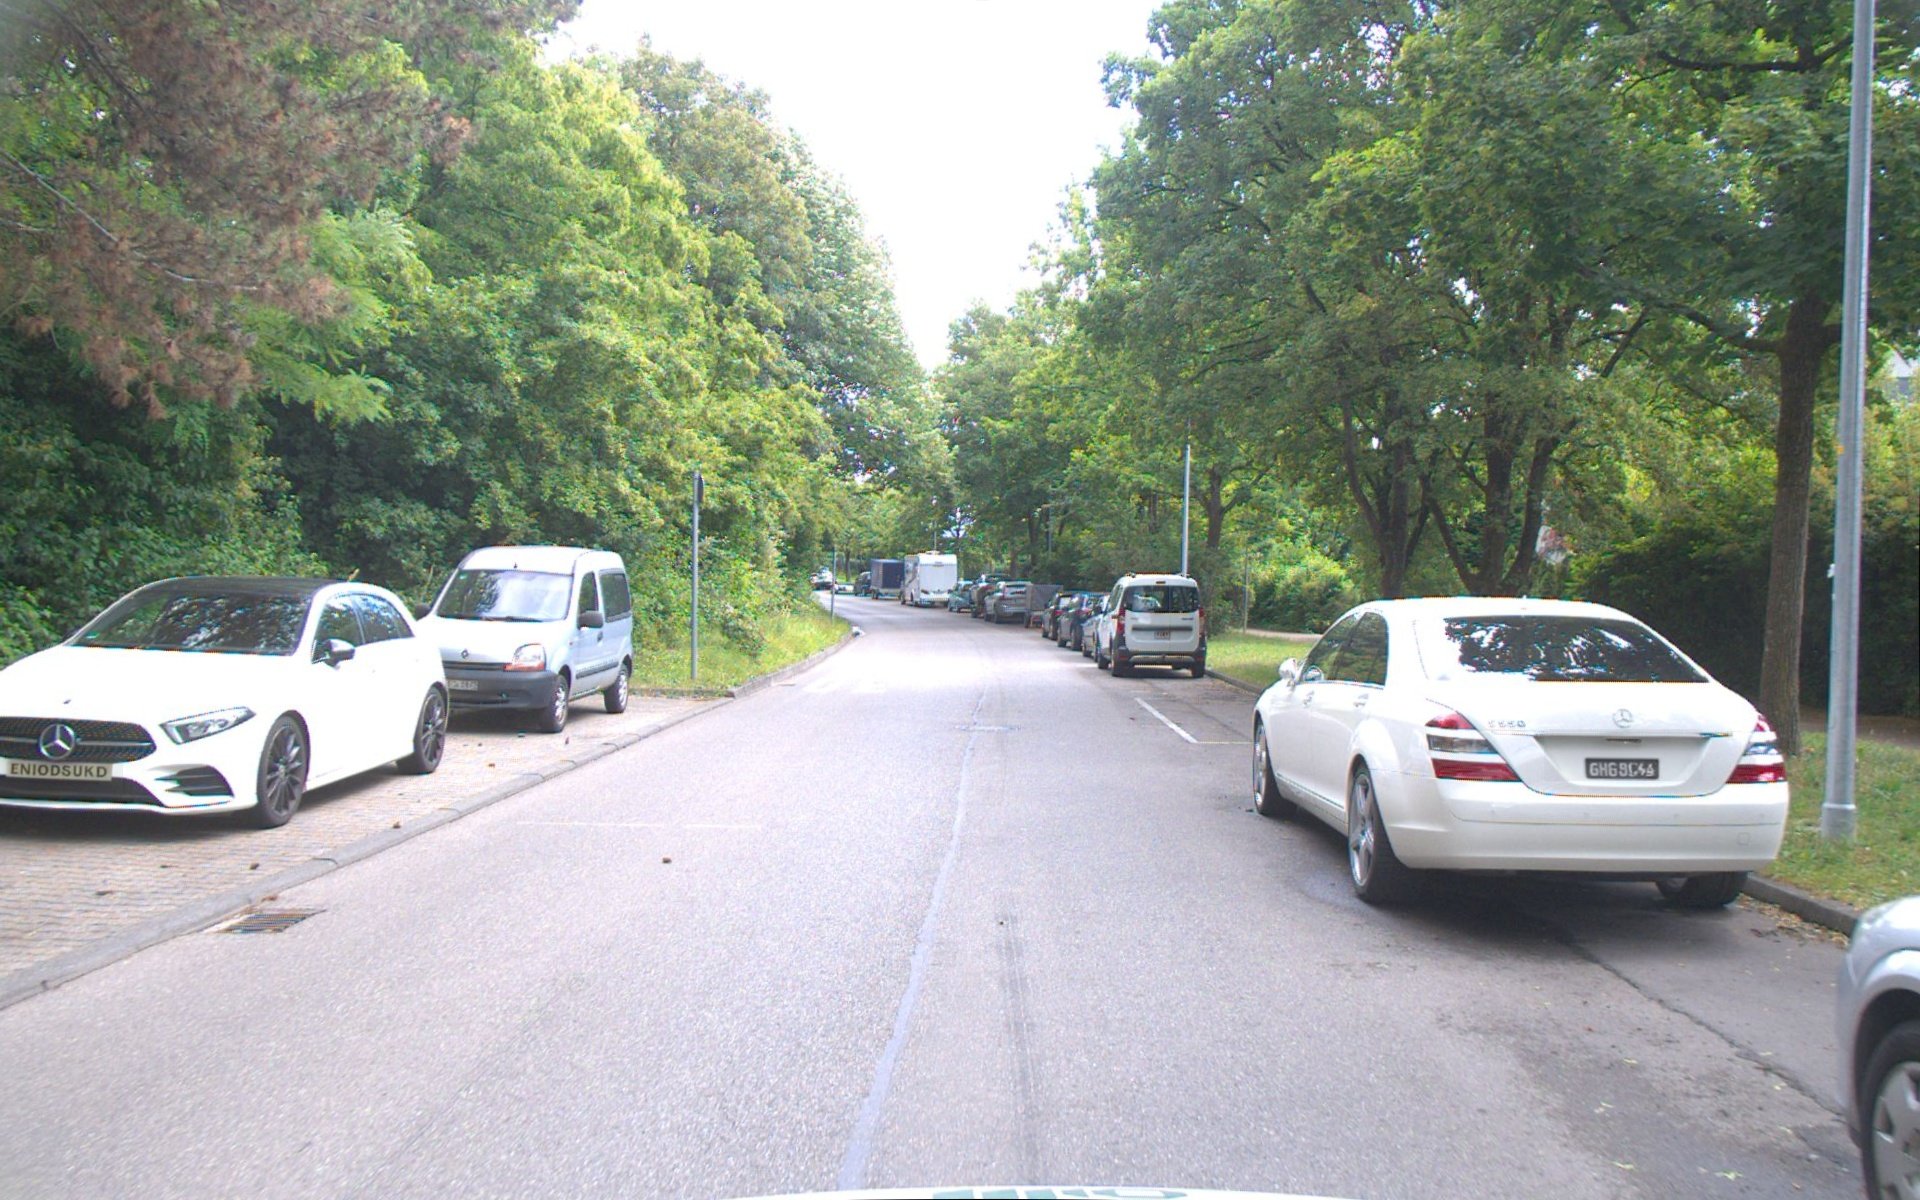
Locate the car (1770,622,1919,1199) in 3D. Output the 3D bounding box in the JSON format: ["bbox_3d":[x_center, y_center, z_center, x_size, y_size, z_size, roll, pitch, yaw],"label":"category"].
[{"bbox_3d":[2.959,0.793,2.338,1.755,1.435,4.060,0,0,2],"label":"car"}]

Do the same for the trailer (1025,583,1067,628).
[{"bbox_3d":[3.144,0.186,61.029,1.253,1.612,2.458,1,1,-4],"label":"trailer"}]

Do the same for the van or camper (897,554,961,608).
[{"bbox_3d":[-1.821,-1.081,93.063,2.438,2.926,6.871,1,1,-11],"label":"van or camper"}]

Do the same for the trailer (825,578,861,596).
[{"bbox_3d":[-7.986,-0.889,112.494,1.625,1.105,3.982,-2,2,-17],"label":"trailer"}]

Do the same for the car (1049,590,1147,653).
[{"bbox_3d":[3.494,0.508,42.680,1.811,1.500,4.475,1,0,-5],"label":"car"}]

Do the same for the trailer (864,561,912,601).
[{"bbox_3d":[-4.530,-1.188,103.555,1.963,2.440,3.978,0,1,-19],"label":"trailer"}]

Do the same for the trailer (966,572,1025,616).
[{"bbox_3d":[1.550,-0.307,73.564,1.941,1.843,5.142,0,1,-7],"label":"trailer"}]

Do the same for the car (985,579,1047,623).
[{"bbox_3d":[2.232,0.066,67.256,1.758,1.699,4.493,0,-1,-8],"label":"car"}]

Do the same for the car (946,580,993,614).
[{"bbox_3d":[0.466,-0.180,82.870,1.767,1.589,3.827,0,1,-9],"label":"car"}]

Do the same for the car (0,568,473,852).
[{"bbox_3d":[-4.771,0.551,10.905,1.769,1.427,4.372,2,1,0],"label":"car"}]

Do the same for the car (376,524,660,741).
[{"bbox_3d":[-4.540,0.267,17.633,1.685,1.954,4.106,3,1,2],"label":"car"}]

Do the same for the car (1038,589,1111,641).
[{"bbox_3d":[3.434,0.418,50.256,1.686,1.478,3.914,1,0,-4],"label":"car"}]

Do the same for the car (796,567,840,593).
[{"bbox_3d":[-10.454,-1.496,121.442,2.009,1.835,4.052,0,2,-24],"label":"car"}]

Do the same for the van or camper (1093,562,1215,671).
[{"bbox_3d":[3.573,0.327,31.113,1.765,1.870,4.320,1,-1,0],"label":"van or camper"}]

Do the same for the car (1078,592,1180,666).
[{"bbox_3d":[3.707,0.599,36.910,1.776,1.462,4.242,2,1,-1],"label":"car"}]

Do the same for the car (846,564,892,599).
[{"bbox_3d":[-6.006,-1.232,108.844,1.964,2.060,3.978,-2,3,-20],"label":"car"}]

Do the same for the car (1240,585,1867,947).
[{"bbox_3d":[2.983,0.688,9.679,1.847,1.533,5.176,1,0,0],"label":"car"}]
